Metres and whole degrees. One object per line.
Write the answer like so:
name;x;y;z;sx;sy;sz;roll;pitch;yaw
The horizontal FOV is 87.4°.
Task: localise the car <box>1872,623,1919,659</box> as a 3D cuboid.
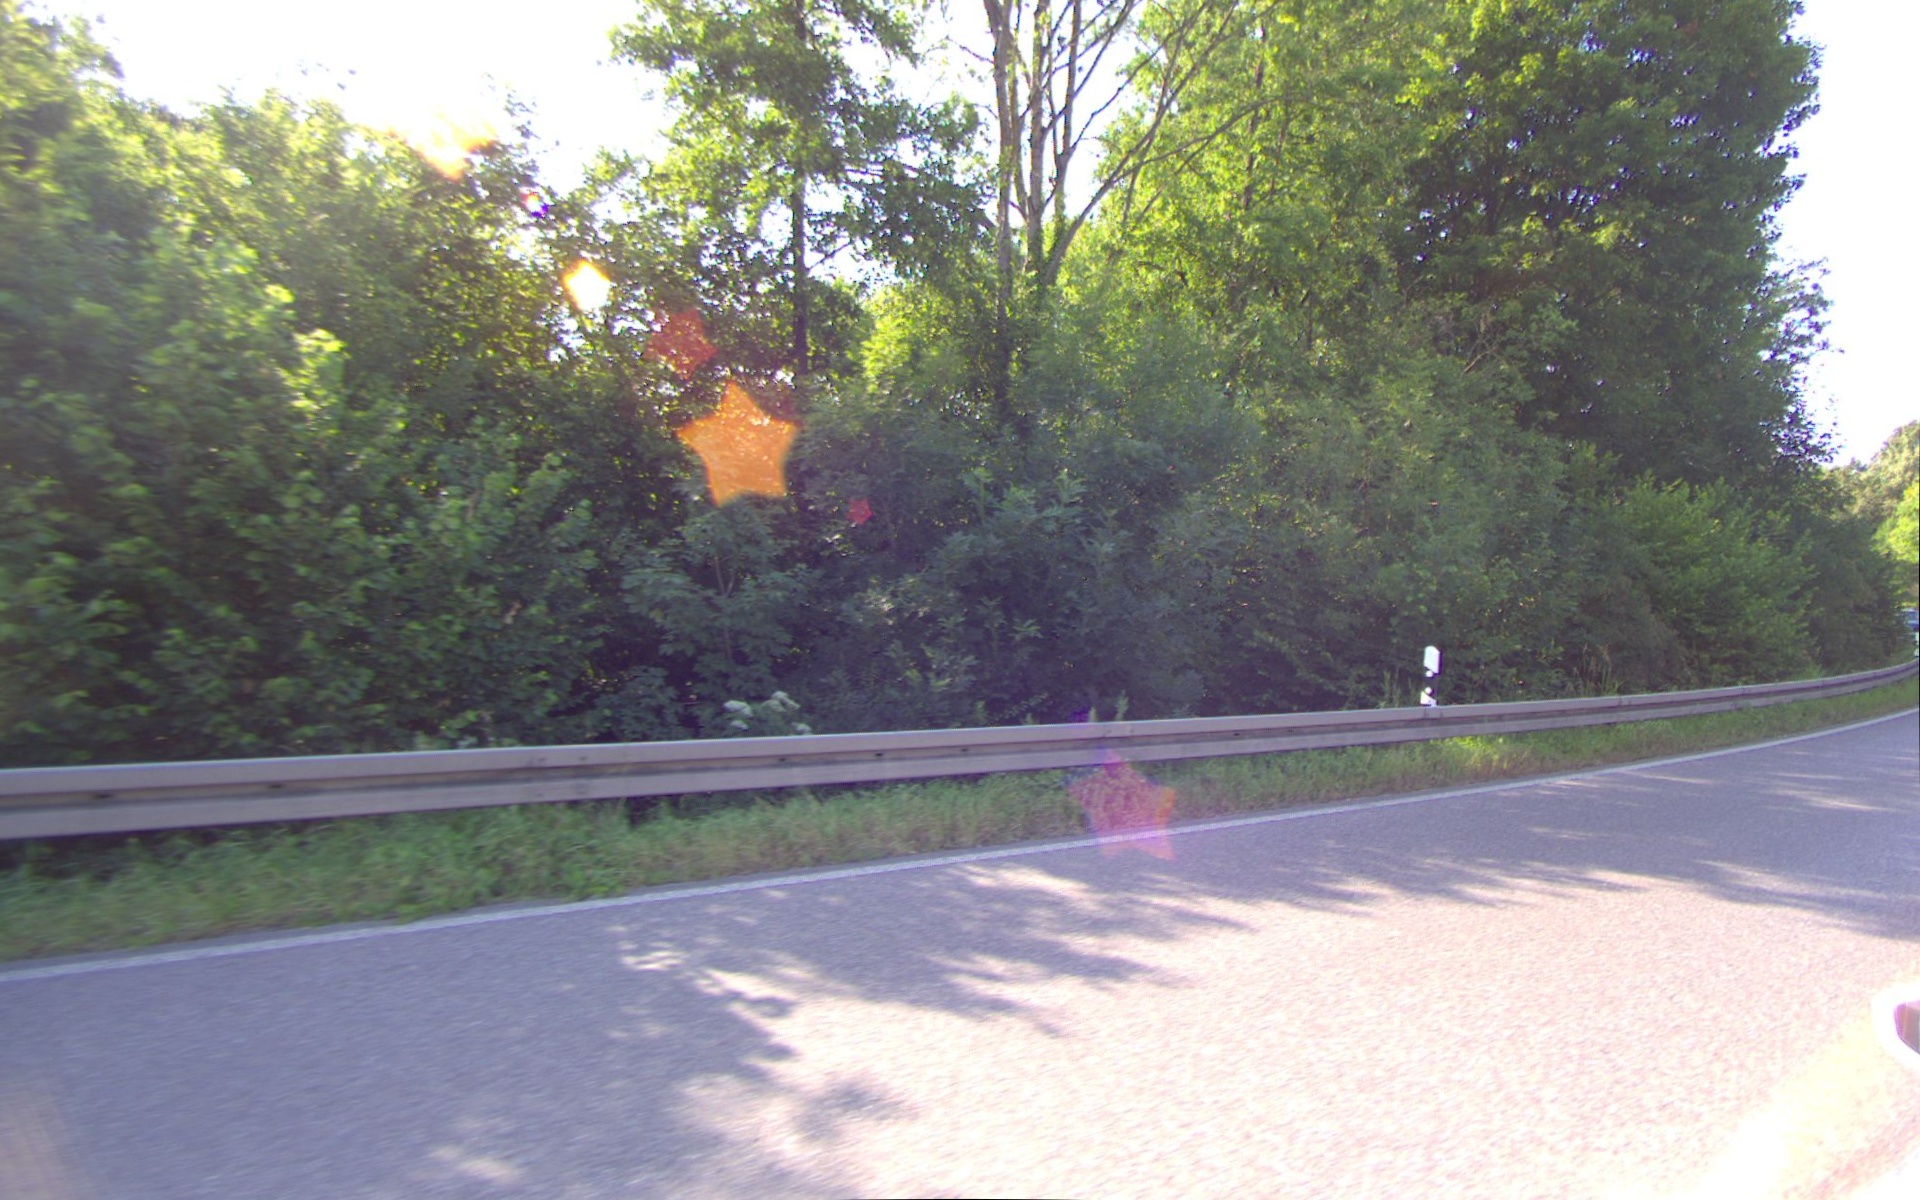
car;47.910;2.048;50.616;1.840;1.675;4.542;1;0;28
